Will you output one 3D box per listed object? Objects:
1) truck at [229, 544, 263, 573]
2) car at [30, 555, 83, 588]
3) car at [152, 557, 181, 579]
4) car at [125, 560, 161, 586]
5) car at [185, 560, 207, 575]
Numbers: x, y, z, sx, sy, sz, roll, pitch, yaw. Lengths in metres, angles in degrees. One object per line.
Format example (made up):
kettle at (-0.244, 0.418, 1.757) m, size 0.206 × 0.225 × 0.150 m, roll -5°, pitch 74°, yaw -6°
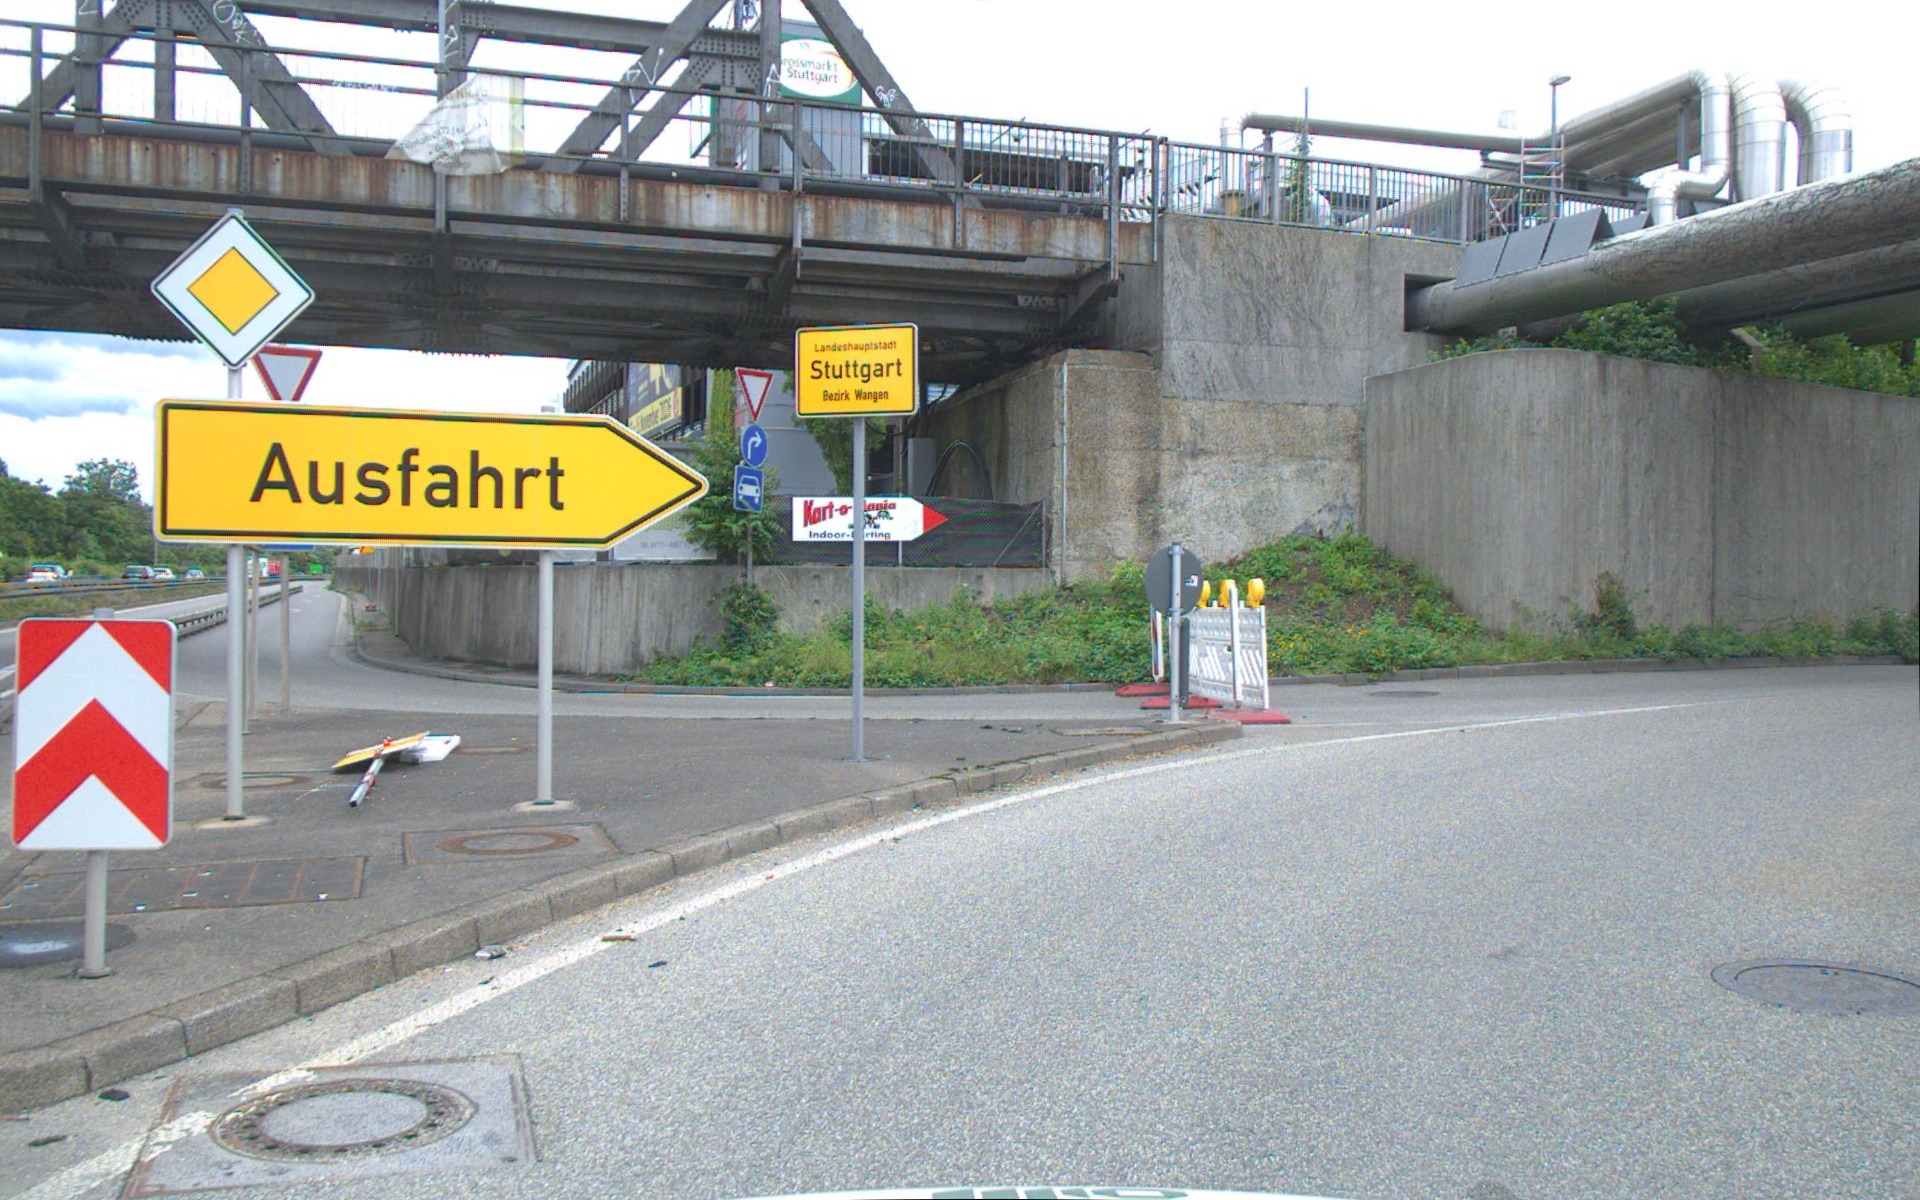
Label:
truck at (-96.765, -5.624, 224.339) m, size 3.665 × 3.708 × 7.684 m, roll 0°, pitch 1°, yaw -20°
car at (-49.775, -1.567, 91.207) m, size 1.964 × 1.790 × 3.976 m, roll -1°, pitch 1°, yaw -20°
car at (-68.480, -2.753, 142.810) m, size 1.966 × 1.847 × 3.974 m, roll 0°, pitch 1°, yaw -22°
car at (-57.637, -1.888, 116.725) m, size 1.965 × 1.790 × 3.974 m, roll -1°, pitch 1°, yaw -21°
car at (-81.524, -3.465, 176.495) m, size 1.753 × 1.624 × 3.728 m, roll 0°, pitch 1°, yaw -20°
